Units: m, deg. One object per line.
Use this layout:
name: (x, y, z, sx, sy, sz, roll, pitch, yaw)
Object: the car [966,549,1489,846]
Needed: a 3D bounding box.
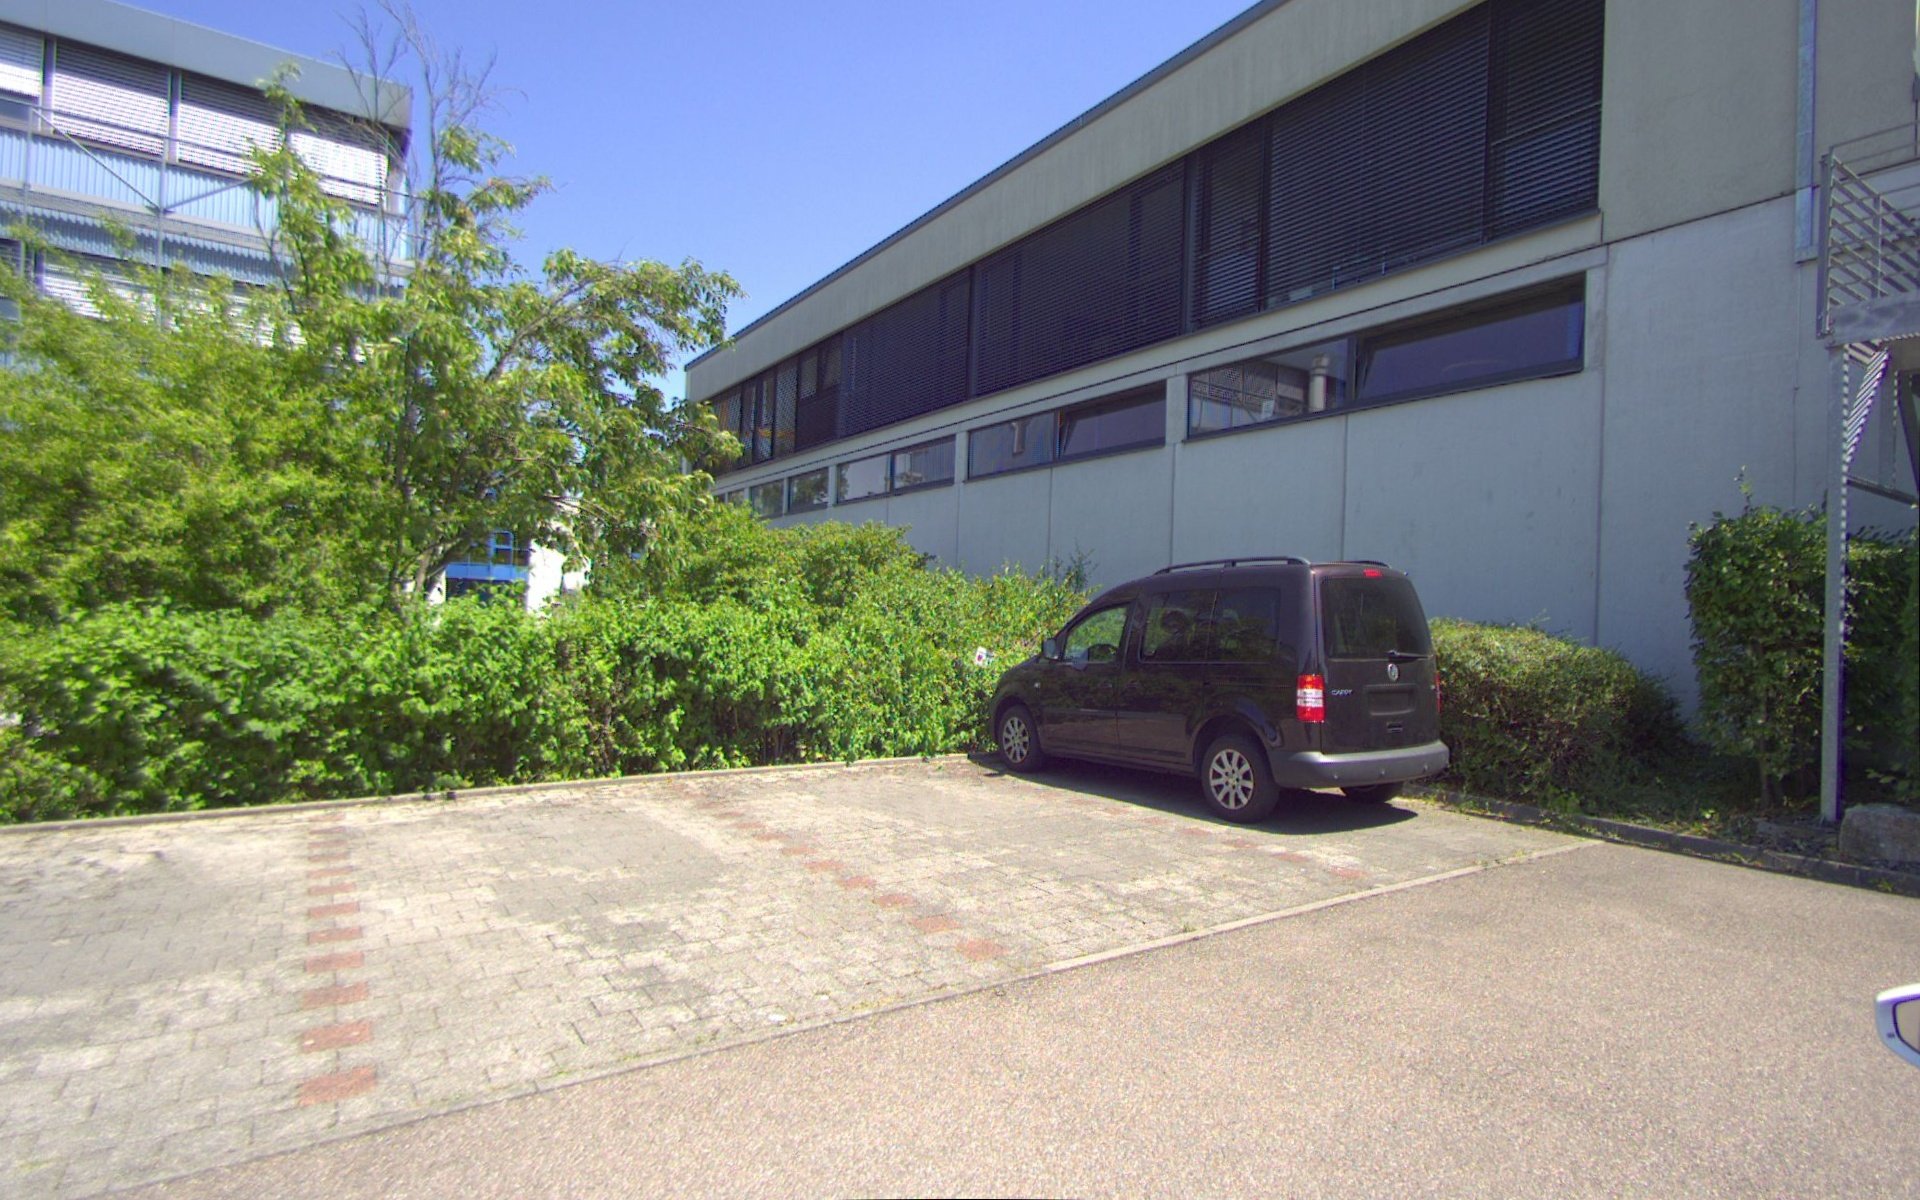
car: (1.981, 0.641, 8.645, 1.849, 1.885, 4.189, 1, -1, -34)
